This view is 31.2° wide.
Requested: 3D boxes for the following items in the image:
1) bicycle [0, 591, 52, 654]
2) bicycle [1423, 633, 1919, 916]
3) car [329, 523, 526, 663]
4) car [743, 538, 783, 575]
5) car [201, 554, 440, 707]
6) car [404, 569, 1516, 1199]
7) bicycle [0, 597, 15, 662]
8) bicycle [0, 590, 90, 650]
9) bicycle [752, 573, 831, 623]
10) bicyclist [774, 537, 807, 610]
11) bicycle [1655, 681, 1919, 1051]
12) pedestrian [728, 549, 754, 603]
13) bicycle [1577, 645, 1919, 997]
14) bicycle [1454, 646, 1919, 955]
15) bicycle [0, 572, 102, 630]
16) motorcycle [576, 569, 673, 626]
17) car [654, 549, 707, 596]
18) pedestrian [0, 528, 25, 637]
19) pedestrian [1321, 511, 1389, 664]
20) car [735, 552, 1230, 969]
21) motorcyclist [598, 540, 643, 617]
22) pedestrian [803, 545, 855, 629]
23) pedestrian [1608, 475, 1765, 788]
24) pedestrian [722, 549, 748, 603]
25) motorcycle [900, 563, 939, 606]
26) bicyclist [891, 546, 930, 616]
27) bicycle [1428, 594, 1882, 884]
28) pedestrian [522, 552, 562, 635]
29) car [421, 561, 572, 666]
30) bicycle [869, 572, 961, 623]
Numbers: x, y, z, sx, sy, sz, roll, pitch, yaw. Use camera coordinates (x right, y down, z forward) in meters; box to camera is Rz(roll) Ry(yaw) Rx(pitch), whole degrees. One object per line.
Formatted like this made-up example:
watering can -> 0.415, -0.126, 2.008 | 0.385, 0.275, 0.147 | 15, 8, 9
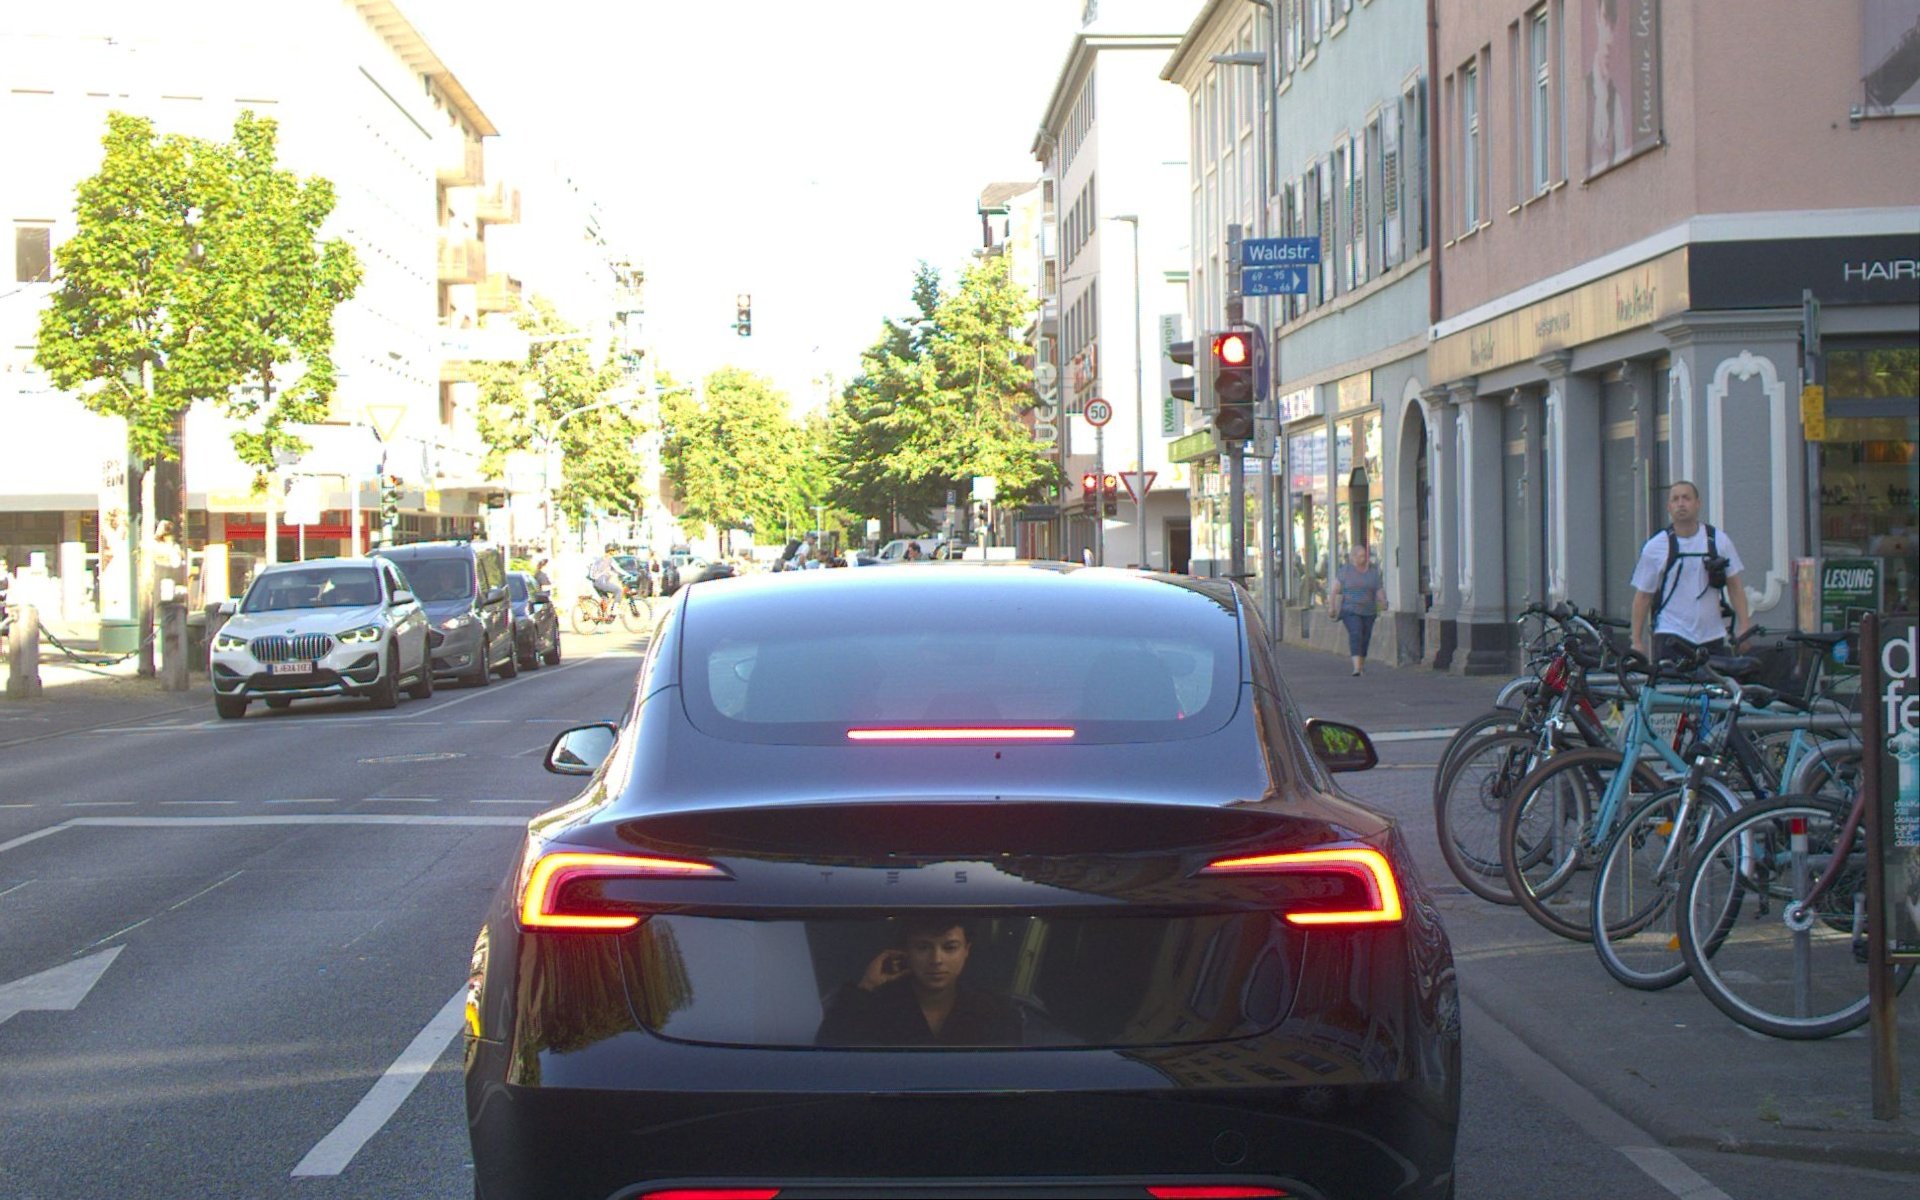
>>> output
bicycle -> -14.807, 0.341, 52.214 | 1.864, 0.931, 0.606 | 0, 1, -1
bicycle -> 2.813, 0.685, 13.645 | 1.873, 1.034, 0.547 | -2, 0, 5
car -> -6.523, -0.116, 42.524 | 1.787, 1.640, 4.403 | 0, 1, -1
car -> -10.727, -2.392, 187.275 | 1.993, 2.007, 4.000 | 0, 1, -1
car -> -6.674, 0.290, 36.221 | 1.789, 1.455, 3.757 | -2, 1, 0
car -> -0.023, 0.653, 7.638 | 1.822, 1.437, 4.000 | 0, 1, -1
bicycle -> -14.716, 0.420, 49.852 | 1.864, 0.931, 0.606 | 1, 0, -1
bicycle -> -14.835, 0.316, 54.662 | 1.864, 0.931, 0.606 | 0, 1, -1
bicycle -> -3.476, -0.037, 70.895 | 1.556, 1.009, 0.484 | 1, 0, -24
bicyclist -> -3.498, -0.551, 70.886 | 0.522, 1.498, 0.476 | 1, 0, -24
bicycle -> 3.007, 0.752, 10.005 | 1.873, 1.034, 0.353 | -2, 0, 6
pedestrian -> -5.844, -0.635, 91.608 | 0.521, 1.417, 0.479 | 1, 0, -30
bicycle -> 2.993, 0.699, 11.177 | 1.873, 1.084, 0.414 | -2, 0, 4
bicycle -> 2.776, 0.717, 12.475 | 1.873, 1.034, 0.533 | -2, 0, 4
bicycle -> -20.724, 0.018, 78.056 | 2.361, 1.291, 0.513 | 1, 0, -26
motorcycle -> -6.650, -0.064, 68.240 | 1.927, 1.107, 0.519 | -1, 1, -38
car -> -9.427, -0.941, 115.768 | 1.706, 1.546, 3.697 | 0, 1, -6
pedestrian -> -17.930, -0.327, 63.697 | 1.057, 2.007, 1.055 | 1, 0, -20
pedestrian -> 4.510, -0.144, 39.321 | 0.706, 1.736, 0.540 | 0, 1, -1
car -> 0.010, 0.532, 13.815 | 1.718, 1.420, 3.758 | 0, 1, -2
motorcyclist -> -6.738, -0.425, 68.167 | 0.719, 1.523, 0.516 | -1, 1, -38
pedestrian -> -2.567, -0.255, 67.246 | 0.754, 1.626, 0.956 | 1, 0, -18
pedestrian -> 4.190, 0.173, 19.866 | 0.750, 1.759, 0.836 | 1, 0, 4
pedestrian -> -6.040, -0.646, 92.479 | 0.521, 1.417, 0.479 | 1, 0, -30
motorcycle -> -1.022, -0.394, 87.648 | 0.977, 1.082, 0.356 | -1, 1, -37
bicyclist -> -1.009, -0.383, 69.469 | 0.669, 1.390, 0.462 | 1, 0, -16
bicycle -> 2.962, 0.589, 14.764 | 1.828, 1.165, 0.505 | -2, 0, 5
pedestrian -> -7.744, -0.123, 63.718 | 0.622, 1.532, 0.514 | 1, 0, -18
car -> -6.703, 0.166, 50.023 | 1.715, 1.441, 3.845 | 1, 1, -1
bicycle -> -0.901, -0.046, 69.502 | 1.784, 1.003, 0.472 | 1, 0, -16
